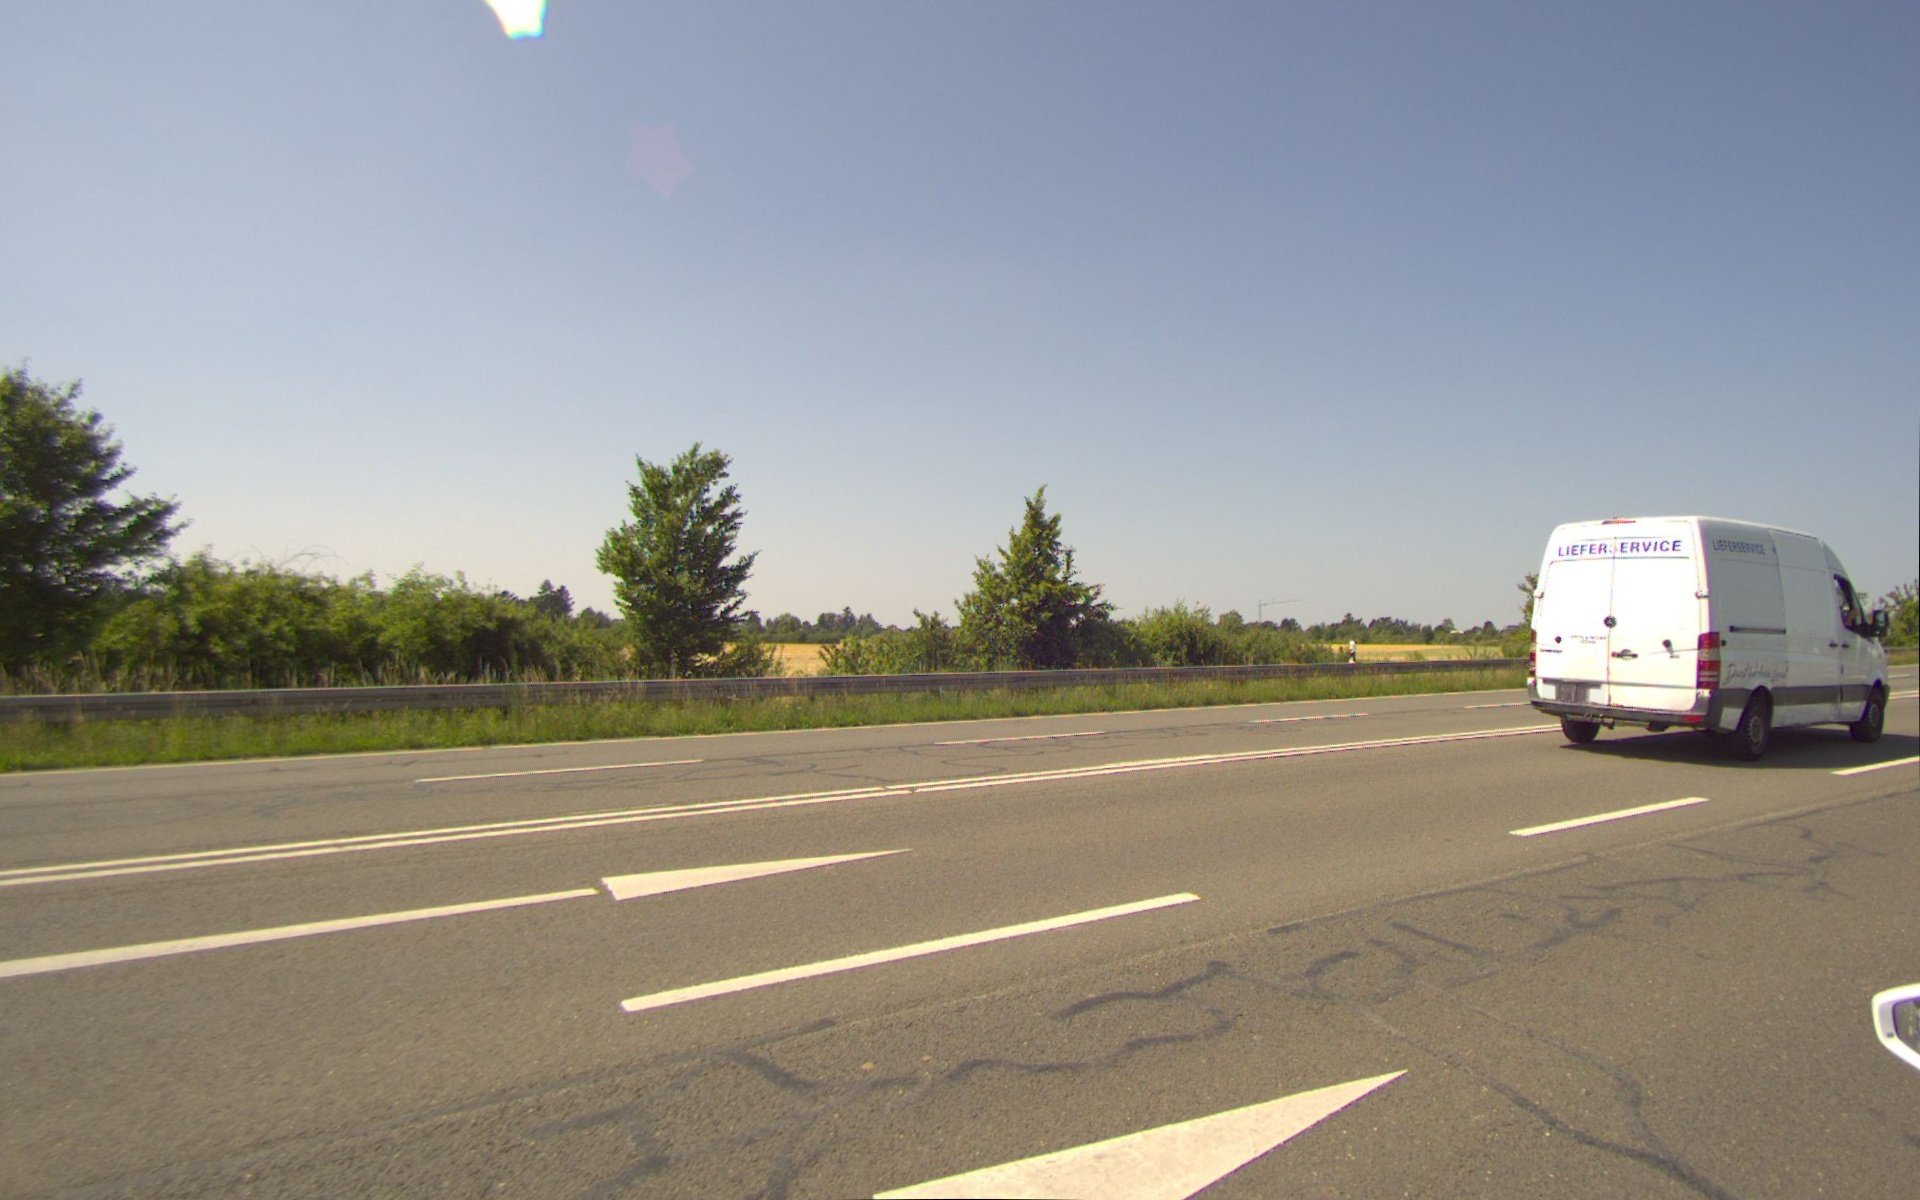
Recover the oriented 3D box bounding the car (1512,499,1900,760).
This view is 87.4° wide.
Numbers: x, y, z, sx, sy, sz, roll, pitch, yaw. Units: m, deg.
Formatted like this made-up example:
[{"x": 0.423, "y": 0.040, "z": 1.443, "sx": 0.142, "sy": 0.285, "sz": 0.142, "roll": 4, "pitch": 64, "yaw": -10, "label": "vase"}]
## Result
[{"x": 9.482, "y": 0.346, "z": 12.599, "sx": 5.678, "sy": 2.655, "sz": 2.028, "roll": 1, "pitch": -1, "yaw": -32, "label": "car"}]
